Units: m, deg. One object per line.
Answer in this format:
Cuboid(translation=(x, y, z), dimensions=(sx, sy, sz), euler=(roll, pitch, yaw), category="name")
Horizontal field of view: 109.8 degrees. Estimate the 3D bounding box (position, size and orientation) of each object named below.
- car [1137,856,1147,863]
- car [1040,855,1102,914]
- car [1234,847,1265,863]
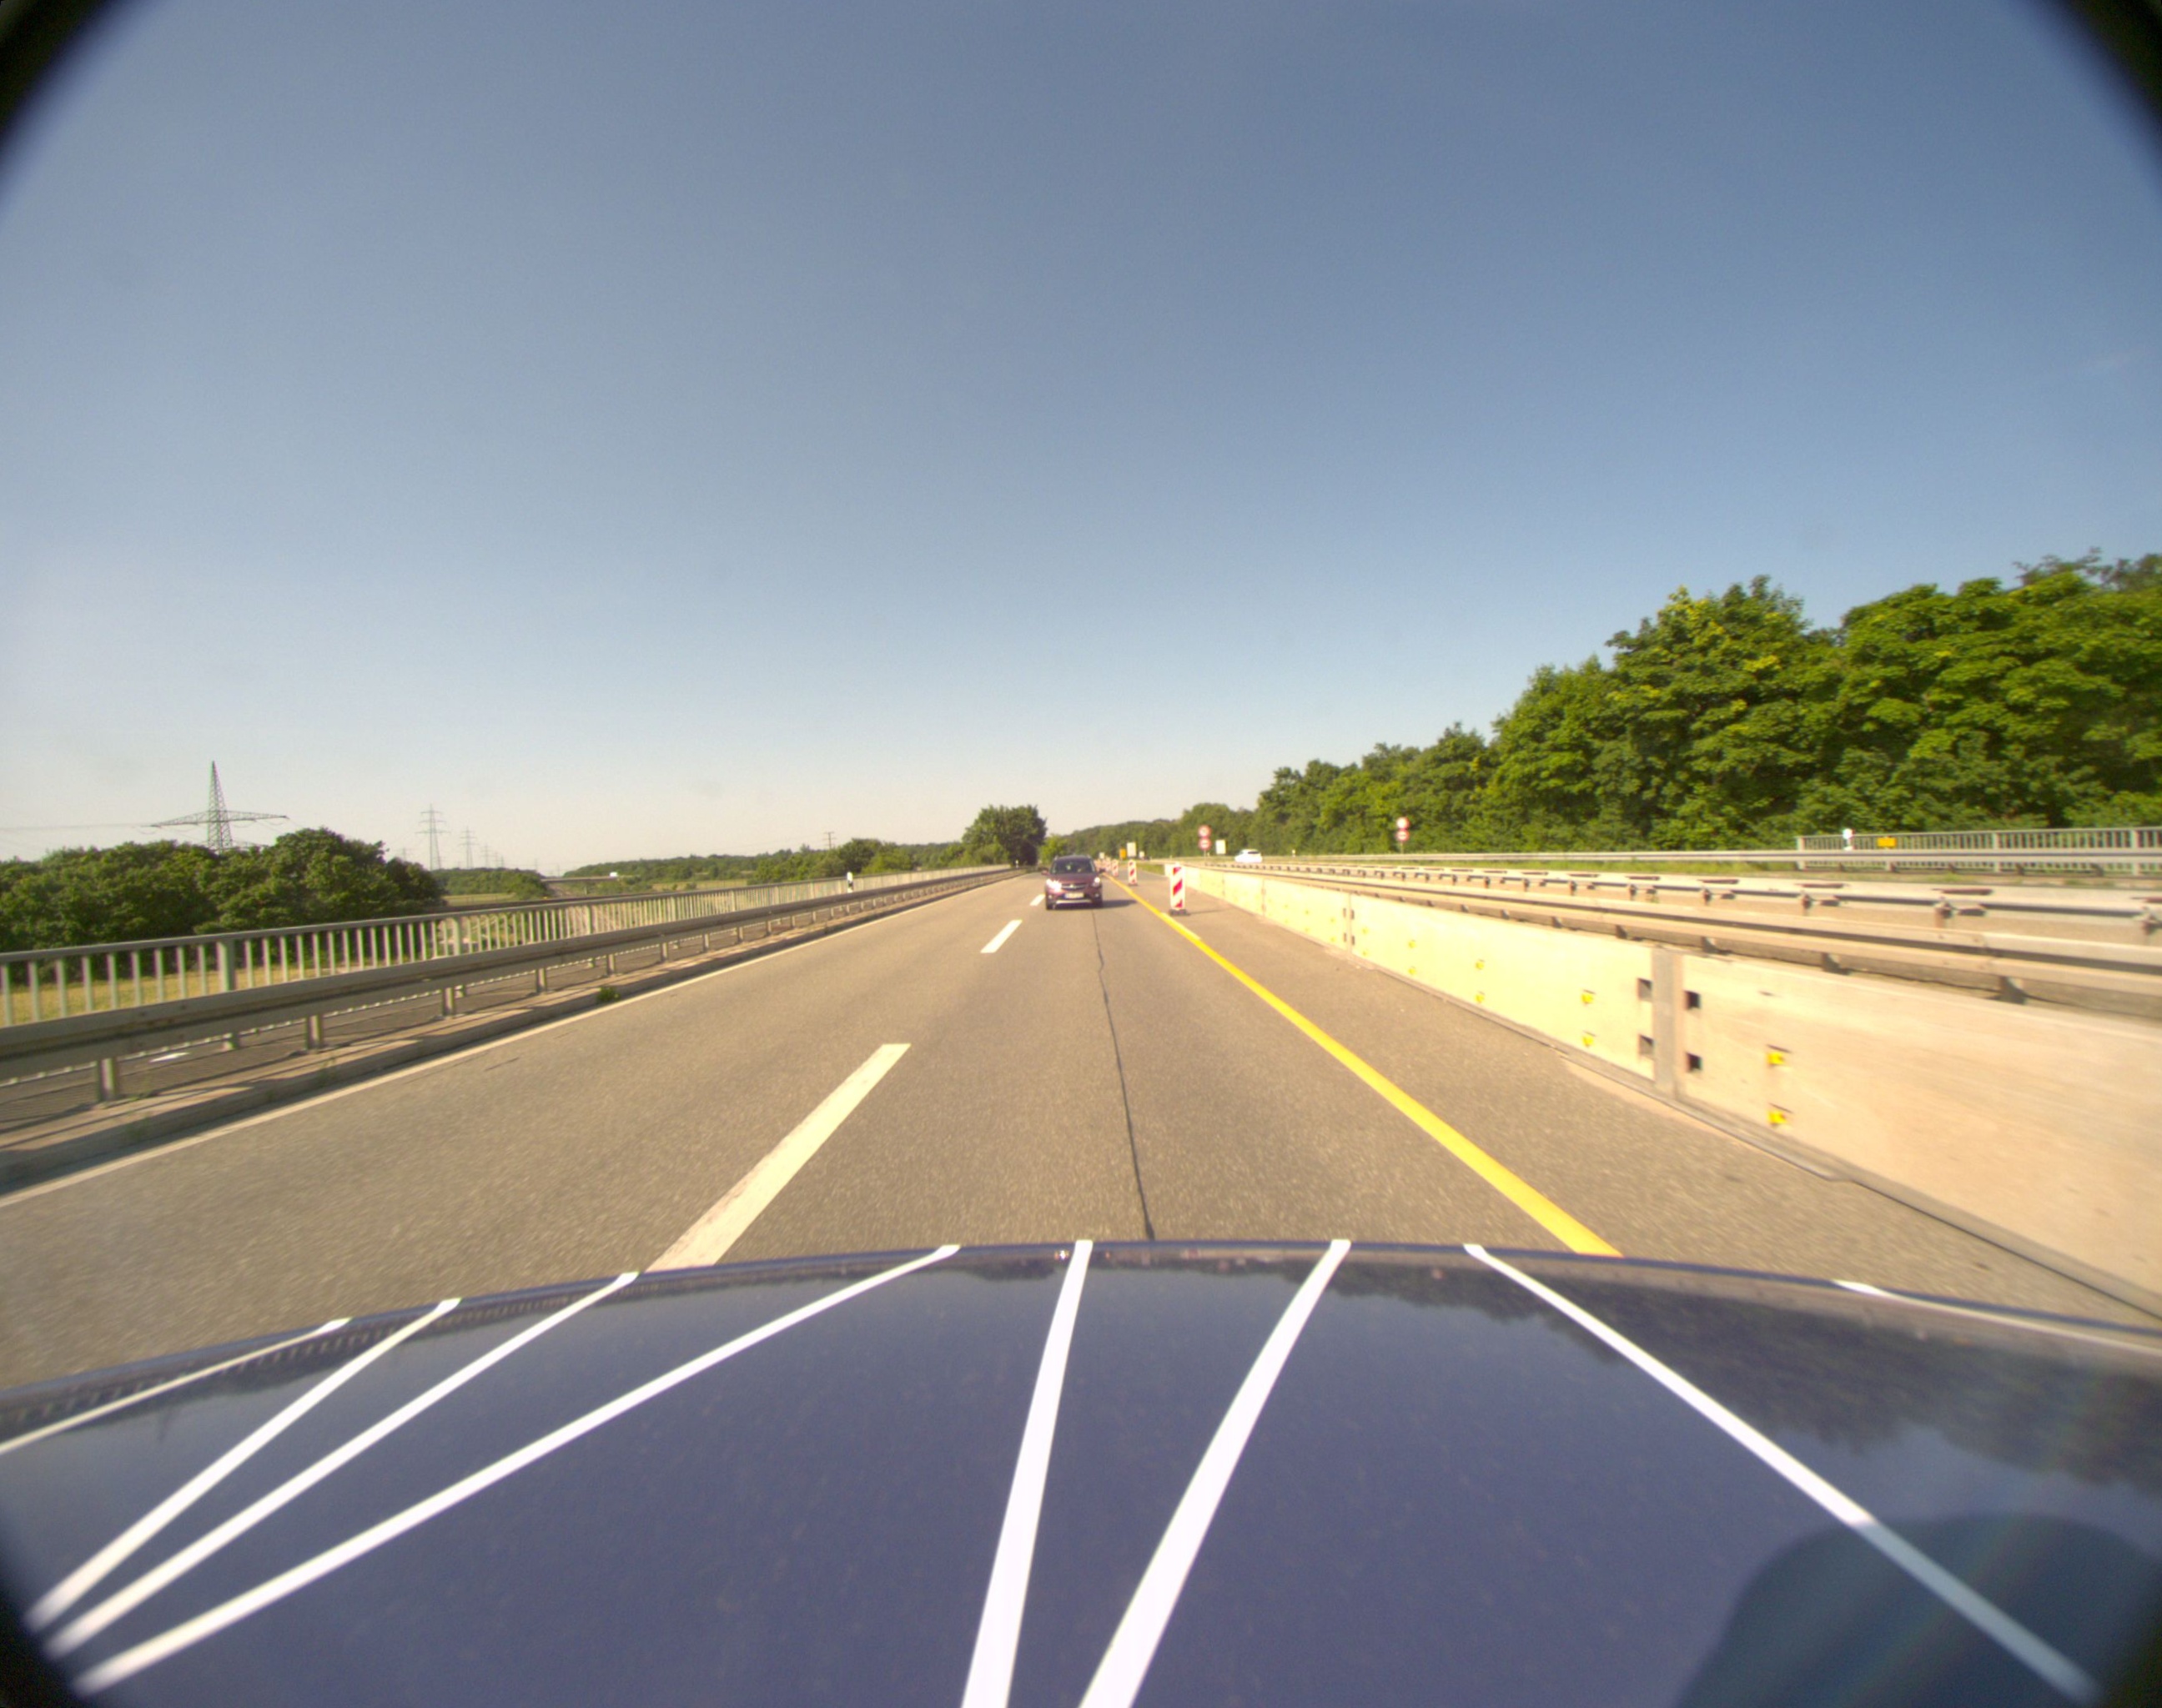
Cuboid(translation=(12.480, 1.098, 154.685), dimensions=(1.595, 1.140, 3.768), euler=(-5, 0, -1), category="car")
Cuboid(translation=(-0.200, 0.831, 22.807), dimensions=(1.587, 1.491, 4.415), euler=(-2, 1, 2), category="car")
Cuboid(translation=(14.972, 0.089, 67.799), dimensions=(1.744, 1.331, 4.551), euler=(-2, 0, 0), category="car")
